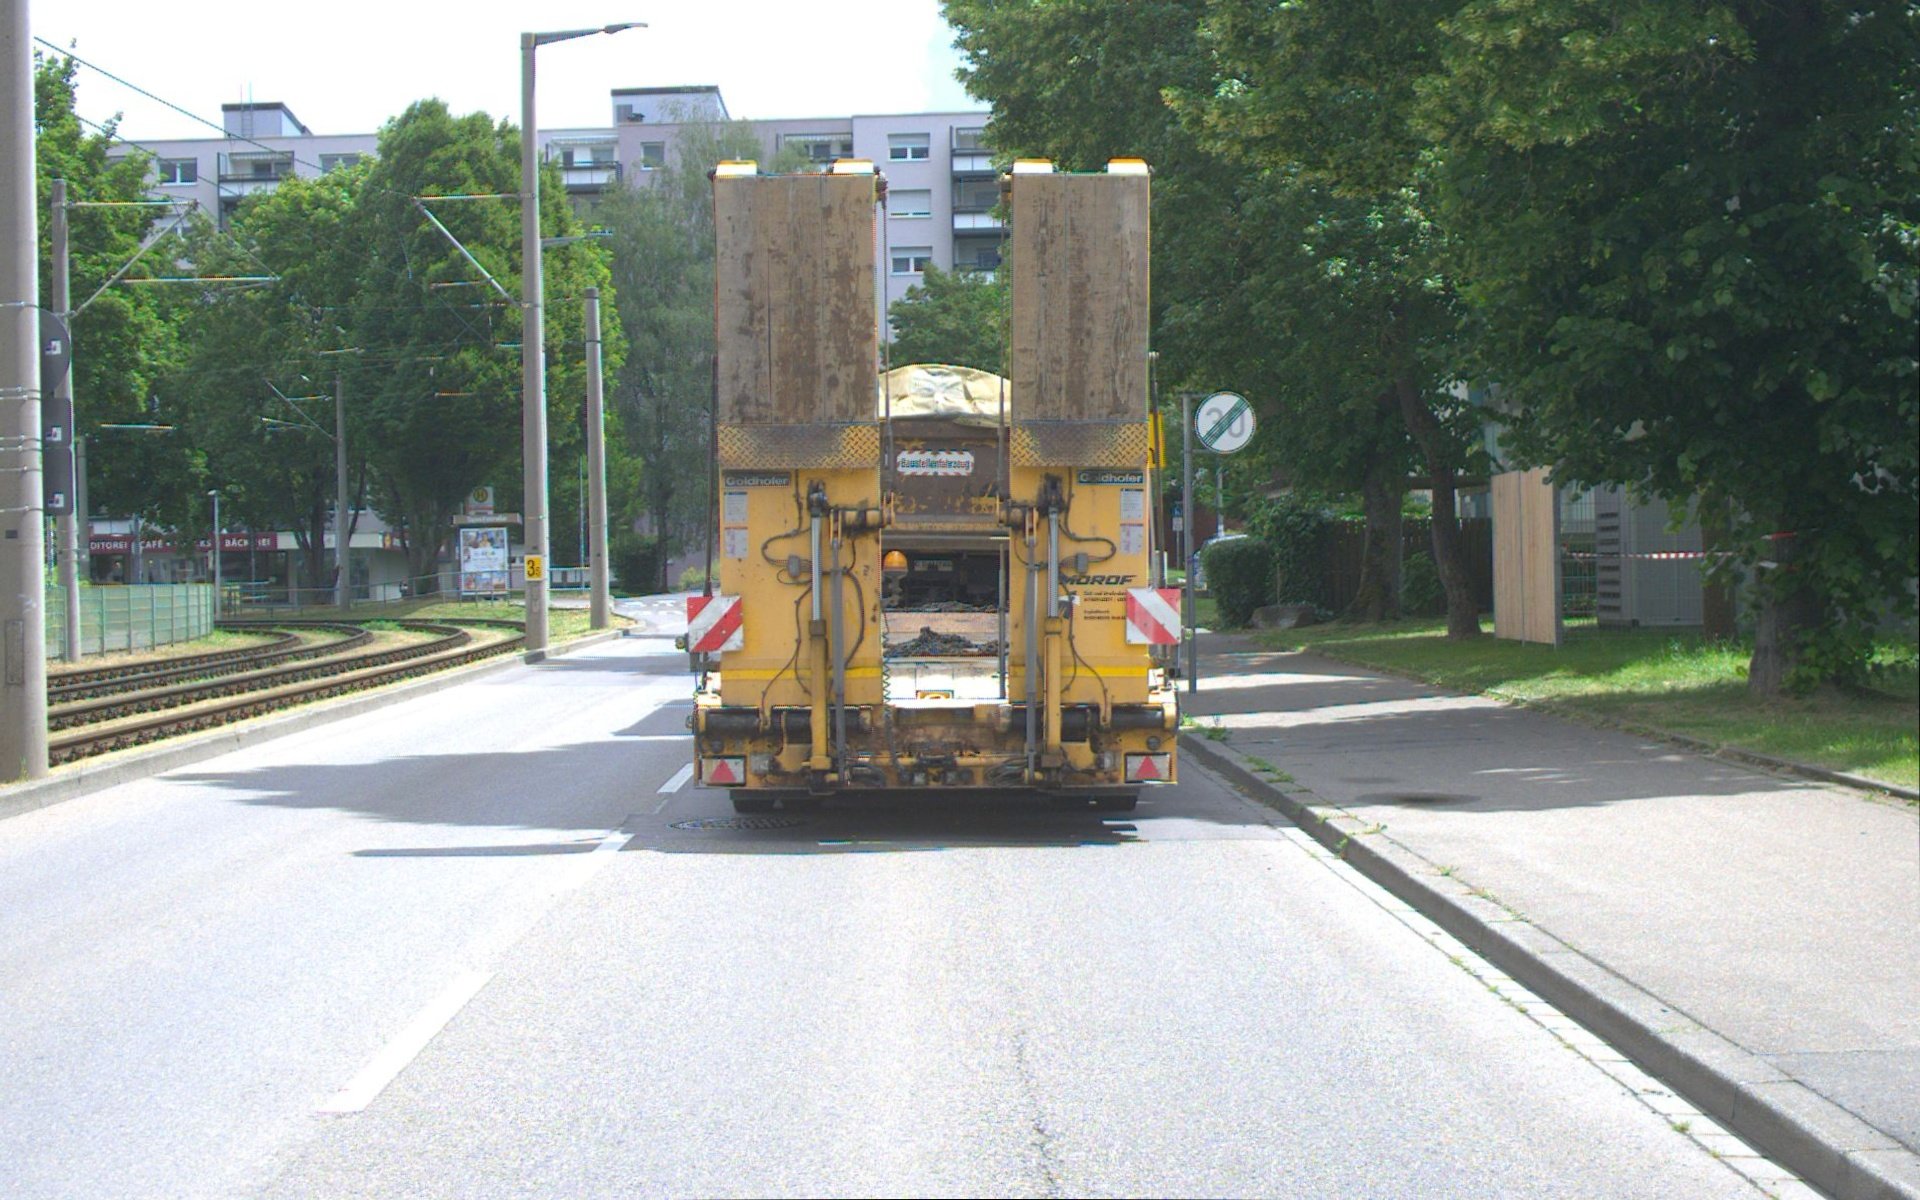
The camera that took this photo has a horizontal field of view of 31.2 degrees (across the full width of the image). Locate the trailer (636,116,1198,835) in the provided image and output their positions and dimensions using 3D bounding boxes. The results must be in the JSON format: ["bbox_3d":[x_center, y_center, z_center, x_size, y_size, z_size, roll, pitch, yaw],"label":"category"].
[{"bbox_3d":[-0.364,-0.732,23.722,2.827,3.633,12.355,1,1,-1],"label":"trailer"}]

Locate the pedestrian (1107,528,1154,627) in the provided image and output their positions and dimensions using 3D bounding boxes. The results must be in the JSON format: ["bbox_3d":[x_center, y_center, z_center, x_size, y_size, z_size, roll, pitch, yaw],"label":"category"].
[{"bbox_3d":[2.980,-0.405,60.273,0.718,1.700,0.766,-2,1,-1],"label":"pedestrian"}]
